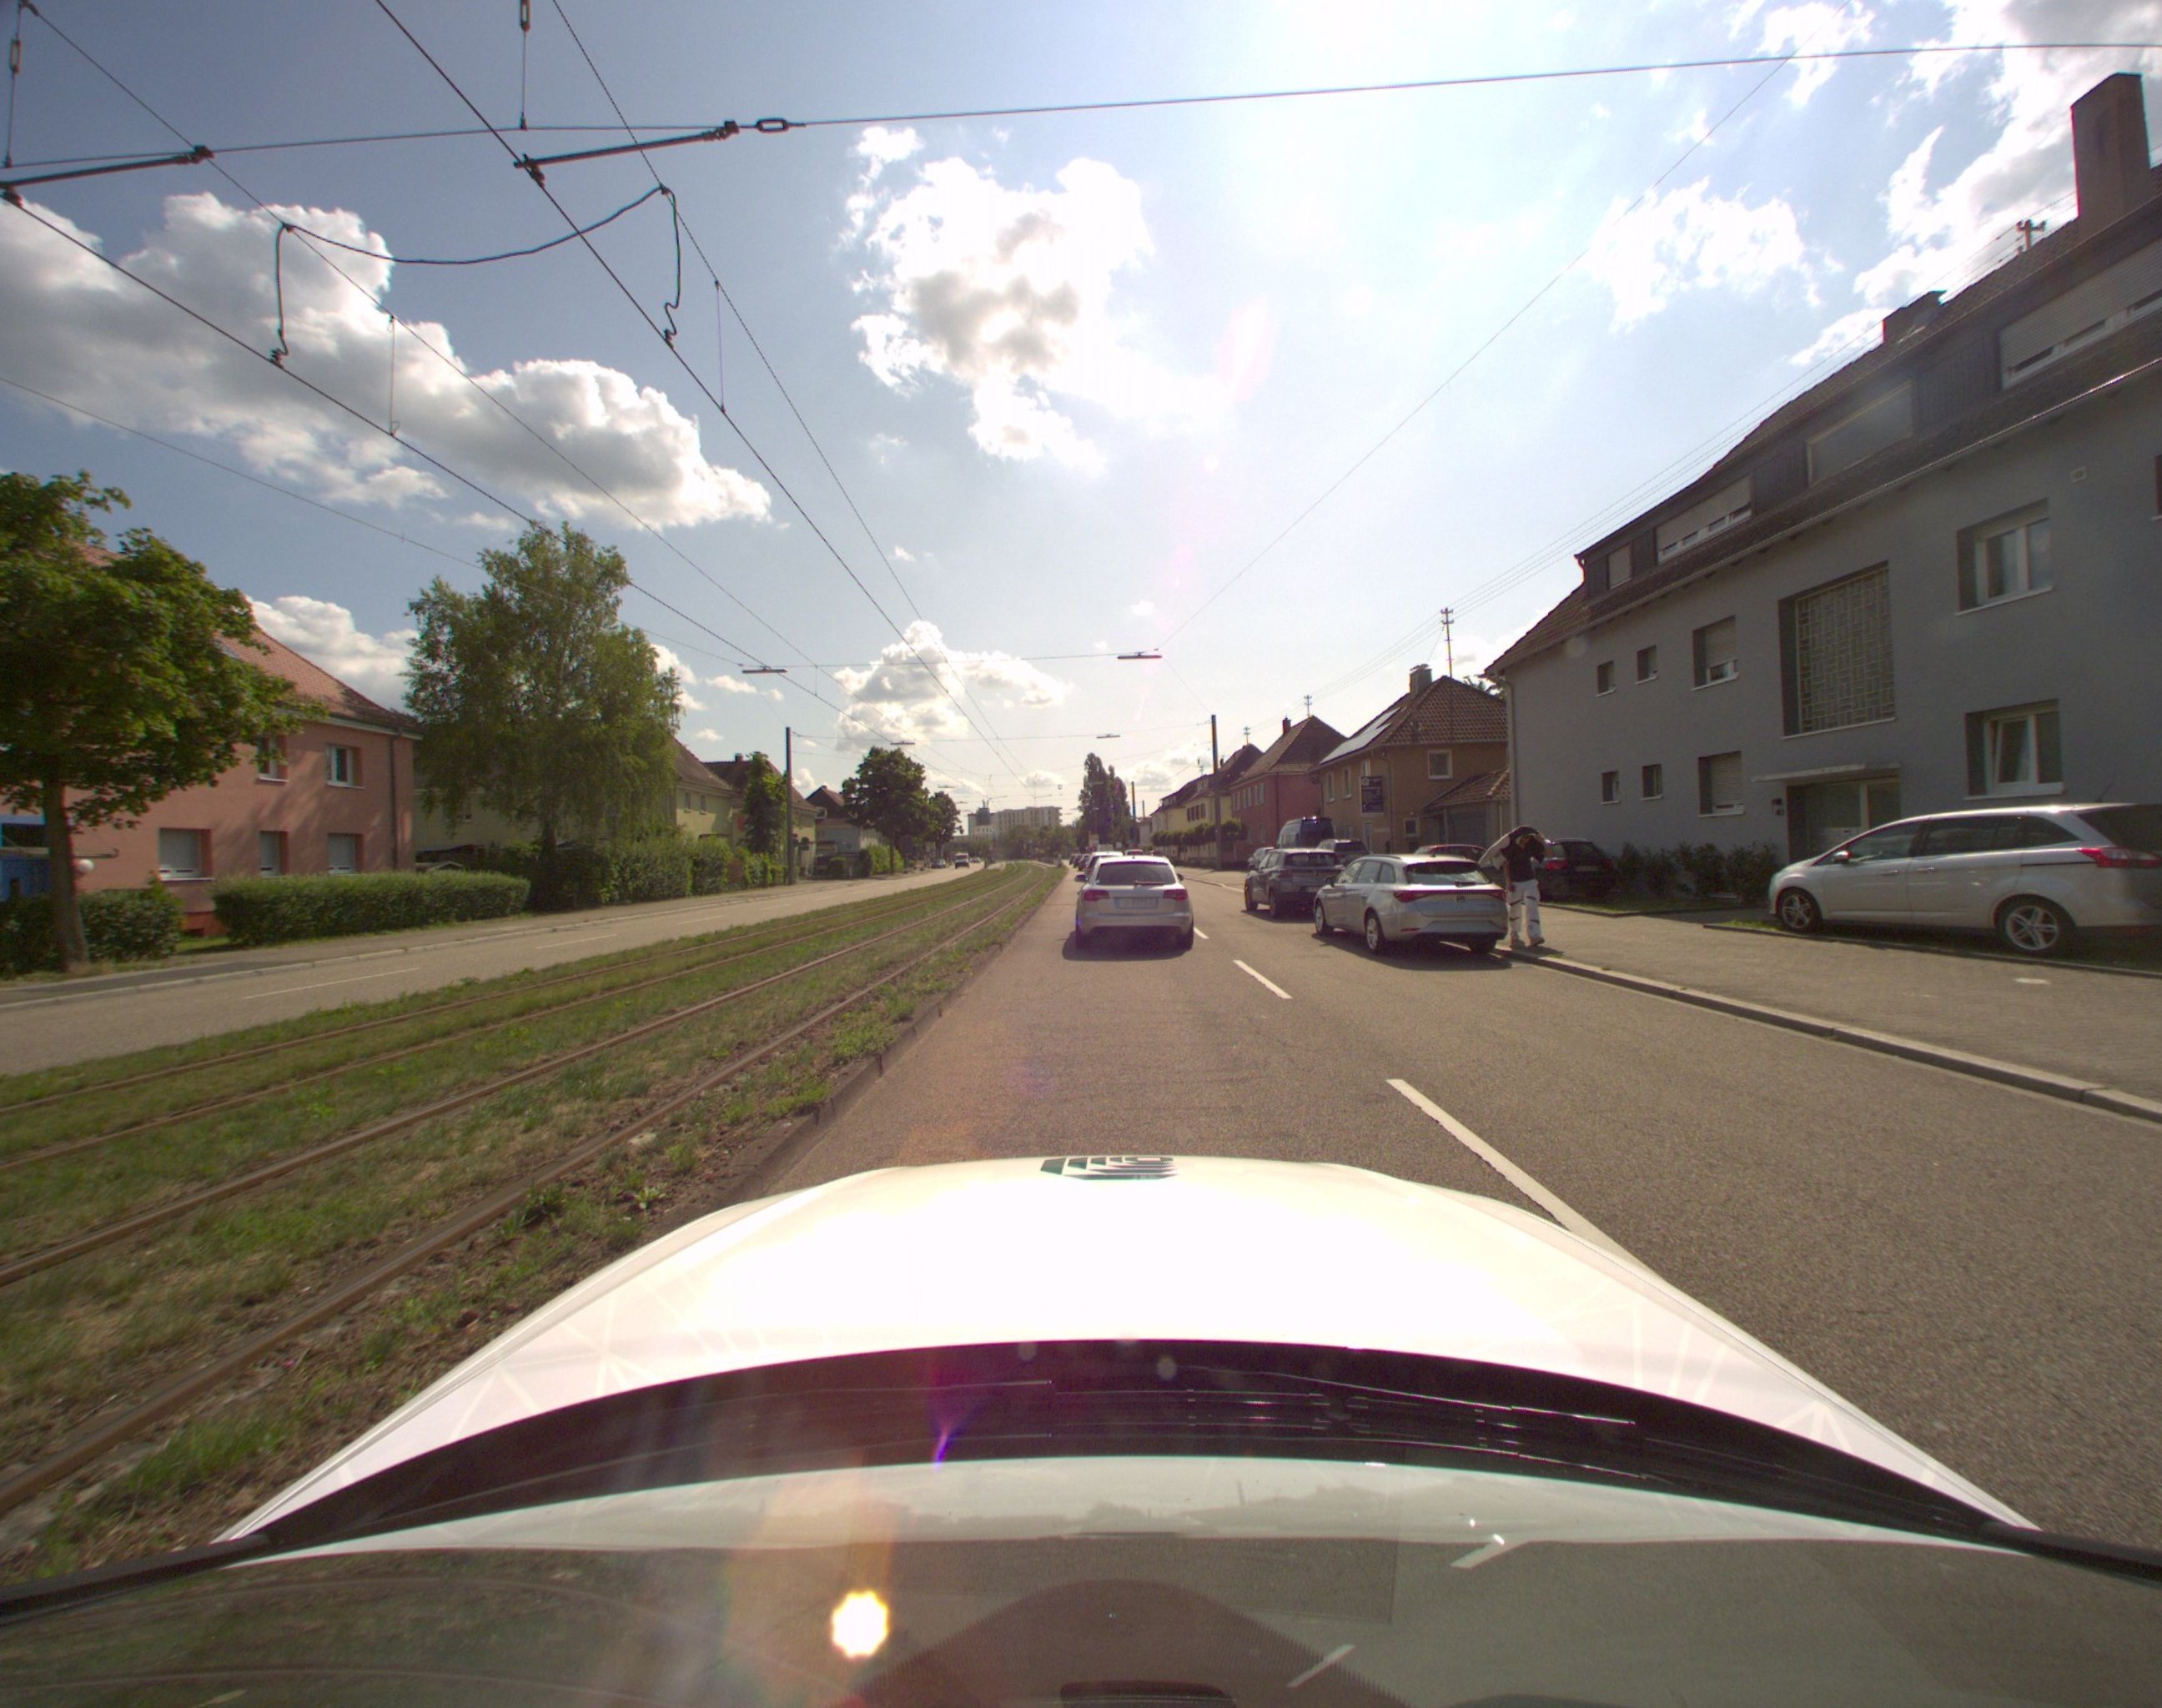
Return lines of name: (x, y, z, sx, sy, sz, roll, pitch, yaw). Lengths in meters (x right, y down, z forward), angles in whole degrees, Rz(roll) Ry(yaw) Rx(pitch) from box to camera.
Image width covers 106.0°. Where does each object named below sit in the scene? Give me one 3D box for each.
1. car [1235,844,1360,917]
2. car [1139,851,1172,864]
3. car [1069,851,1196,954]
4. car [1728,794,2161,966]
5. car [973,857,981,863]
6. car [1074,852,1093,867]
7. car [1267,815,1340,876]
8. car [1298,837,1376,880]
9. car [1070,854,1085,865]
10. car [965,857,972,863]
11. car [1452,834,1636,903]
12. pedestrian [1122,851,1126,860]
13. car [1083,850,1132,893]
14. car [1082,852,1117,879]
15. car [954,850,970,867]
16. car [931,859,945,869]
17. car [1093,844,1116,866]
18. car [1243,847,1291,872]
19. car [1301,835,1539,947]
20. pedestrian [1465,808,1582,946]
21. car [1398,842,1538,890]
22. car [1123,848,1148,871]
car: (5.085, 0.592, 19.732, 1.802, 1.559, 4.251, 0, -1, -1)
car: (9.306, 0.412, 101.936, 1.892, 1.458, 4.118, -1, 2, 45)
car: (0.857, 0.726, 14.299, 1.847, 1.492, 4.538, -1, 0, 2)
car: (10.990, 0.241, 10.247, 1.752, 1.647, 4.765, -3, -1, -2)
car: (-27.127, 1.609, 211.656, 1.896, 1.541, 3.717, 0, -1, -9)
car: (0.283, 0.618, 87.181, 1.878, 1.530, 4.095, 0, -1, 1)
car: (11.471, -0.386, 42.502, 2.144, 2.930, 6.244, 0, -1, 0)
car: (11.270, 0.181, 36.248, 1.831, 1.711, 4.862, -3, 0, -1)
car: (-0.488, 0.751, 116.086, 1.878, 1.530, 4.096, 0, -1, 2)
car: (-31.968, 1.655, 231.816, 1.862, 1.651, 3.987, 0, -1, -9)
car: (11.223, 0.320, 20.211, 1.792, 1.423, 4.857, -3, 0, 0)
pedestrian: (8.134, 0.296, 154.352, 0.720, 1.782, 0.702, -4, 0, -3)
car: (0.994, 0.644, 31.755, 1.781, 1.577, 4.094, 0, 0, 1)
car: (1.070, 0.630, 47.036, 1.878, 1.466, 4.096, -2, 0, 2)
car: (-17.896, 0.760, 122.833, 2.195, 2.372, 5.316, -3, 0, -9)
car: (-23.478, 1.616, 134.043, 1.782, 1.584, 3.926, -1, 0, -3)
car: (2.760, 0.140, 96.687, 2.038, 2.557, 5.221, -1, 0, -6)
car: (11.223, 0.351, 49.390, 1.646, 1.409, 4.344, -2, -1, -4)
car: (5.079, 0.506, 12.999, 1.809, 1.454, 4.641, 0, -1, -1)
pedestrian: (6.593, 0.330, 12.211, 1.108, 1.946, 1.092, -2, -1, 1)
car: (12.284, 0.380, 26.001, 3.639, 1.380, 1.725, -1, -1, -2)
car: (4.407, 0.441, 65.913, 1.876, 1.731, 4.099, -2, 0, 4)
